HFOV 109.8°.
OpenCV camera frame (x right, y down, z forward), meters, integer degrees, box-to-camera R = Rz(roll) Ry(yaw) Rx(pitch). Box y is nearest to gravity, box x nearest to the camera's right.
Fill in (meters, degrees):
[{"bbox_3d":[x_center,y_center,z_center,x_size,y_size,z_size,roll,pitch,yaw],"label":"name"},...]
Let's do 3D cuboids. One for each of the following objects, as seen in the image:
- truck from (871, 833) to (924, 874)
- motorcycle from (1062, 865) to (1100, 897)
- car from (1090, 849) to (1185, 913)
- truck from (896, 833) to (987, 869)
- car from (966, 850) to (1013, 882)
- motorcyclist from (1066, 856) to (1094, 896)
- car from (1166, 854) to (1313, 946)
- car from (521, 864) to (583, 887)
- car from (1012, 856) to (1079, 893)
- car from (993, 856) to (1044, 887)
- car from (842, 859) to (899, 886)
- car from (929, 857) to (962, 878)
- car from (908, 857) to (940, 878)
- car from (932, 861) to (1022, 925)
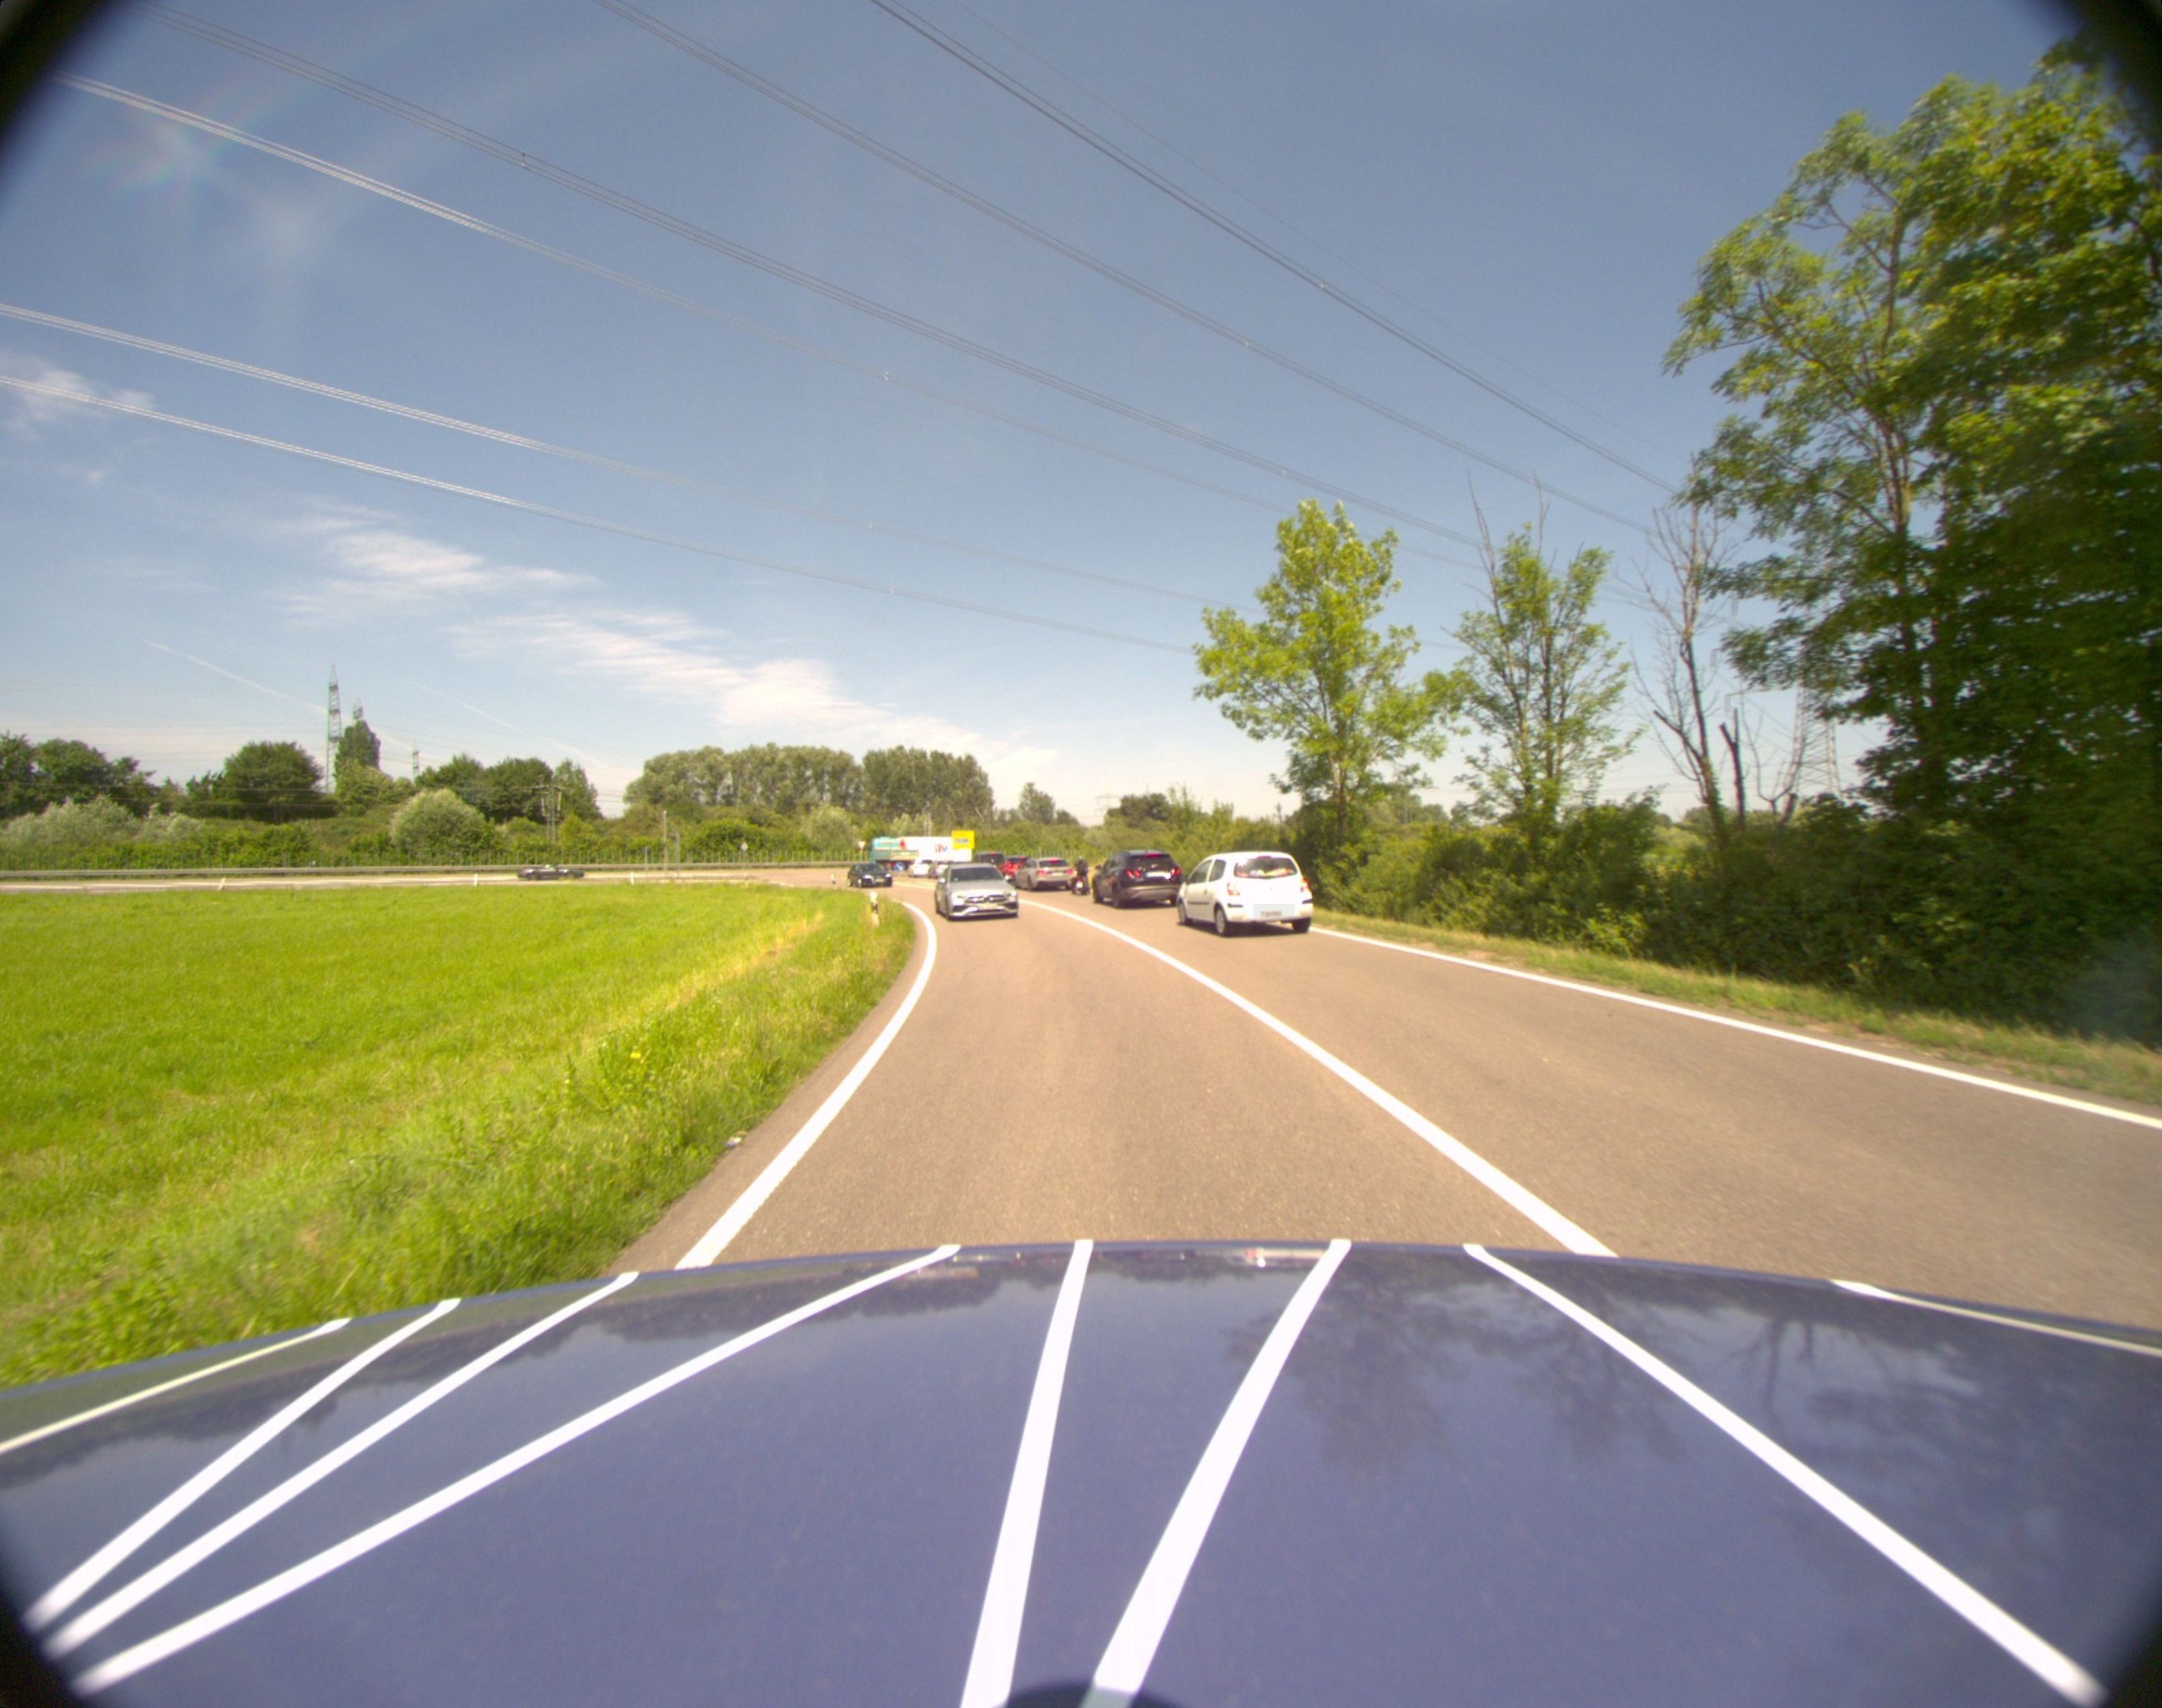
[{"bbox_3d":[-16.648,-0.005,68.540,2.614,3.451,7.592,-1,0,-29],"label":"truck"},{"bbox_3d":[-0.030,1.007,29.529,0.785,1.117,2.426,-2,1,-17],"label":"motorcycle"},{"bbox_3d":[1.546,0.722,22.416,1.708,1.628,4.245,-3,0,-11],"label":"car"},{"bbox_3d":[-15.414,-0.404,84.420,9.571,3.559,2.718,-3,2,-35],"label":"truck"},{"bbox_3d":[-5.693,0.706,46.768,1.934,1.822,4.431,0,1,-19],"label":"car"},{"bbox_3d":[-0.044,0.828,29.510,0.784,1.486,1.129,-1,1,-17],"label":"motorcyclist"},{"bbox_3d":[2.904,0.777,14.679,1.541,1.434,3.604,-3,1,-9],"label":"car"},{"bbox_3d":[-42.677,1.731,61.380,4.007,1.714,1.720,0,1,-32],"label":"car"},{"bbox_3d":[-1.673,0.851,34.179,1.848,1.452,4.801,-2,1,-17],"label":"car"},{"bbox_3d":[-3.371,0.878,40.090,1.806,1.507,4.384,0,1,-17],"label":"car"},{"bbox_3d":[-12.303,1.090,44.258,1.829,1.431,4.138,-2,0,-36],"label":"car"},{"bbox_3d":[-10.077,0.959,56.341,1.639,1.451,4.001,-1,0,-22],"label":"car"},{"bbox_3d":[-12.860,1.059,62.075,1.780,1.611,4.323,-2,1,-22],"label":"car"},{"bbox_3d":[-2.963,0.986,20.966,1.827,1.478,4.142,-1,1,-16],"label":"car"}]
